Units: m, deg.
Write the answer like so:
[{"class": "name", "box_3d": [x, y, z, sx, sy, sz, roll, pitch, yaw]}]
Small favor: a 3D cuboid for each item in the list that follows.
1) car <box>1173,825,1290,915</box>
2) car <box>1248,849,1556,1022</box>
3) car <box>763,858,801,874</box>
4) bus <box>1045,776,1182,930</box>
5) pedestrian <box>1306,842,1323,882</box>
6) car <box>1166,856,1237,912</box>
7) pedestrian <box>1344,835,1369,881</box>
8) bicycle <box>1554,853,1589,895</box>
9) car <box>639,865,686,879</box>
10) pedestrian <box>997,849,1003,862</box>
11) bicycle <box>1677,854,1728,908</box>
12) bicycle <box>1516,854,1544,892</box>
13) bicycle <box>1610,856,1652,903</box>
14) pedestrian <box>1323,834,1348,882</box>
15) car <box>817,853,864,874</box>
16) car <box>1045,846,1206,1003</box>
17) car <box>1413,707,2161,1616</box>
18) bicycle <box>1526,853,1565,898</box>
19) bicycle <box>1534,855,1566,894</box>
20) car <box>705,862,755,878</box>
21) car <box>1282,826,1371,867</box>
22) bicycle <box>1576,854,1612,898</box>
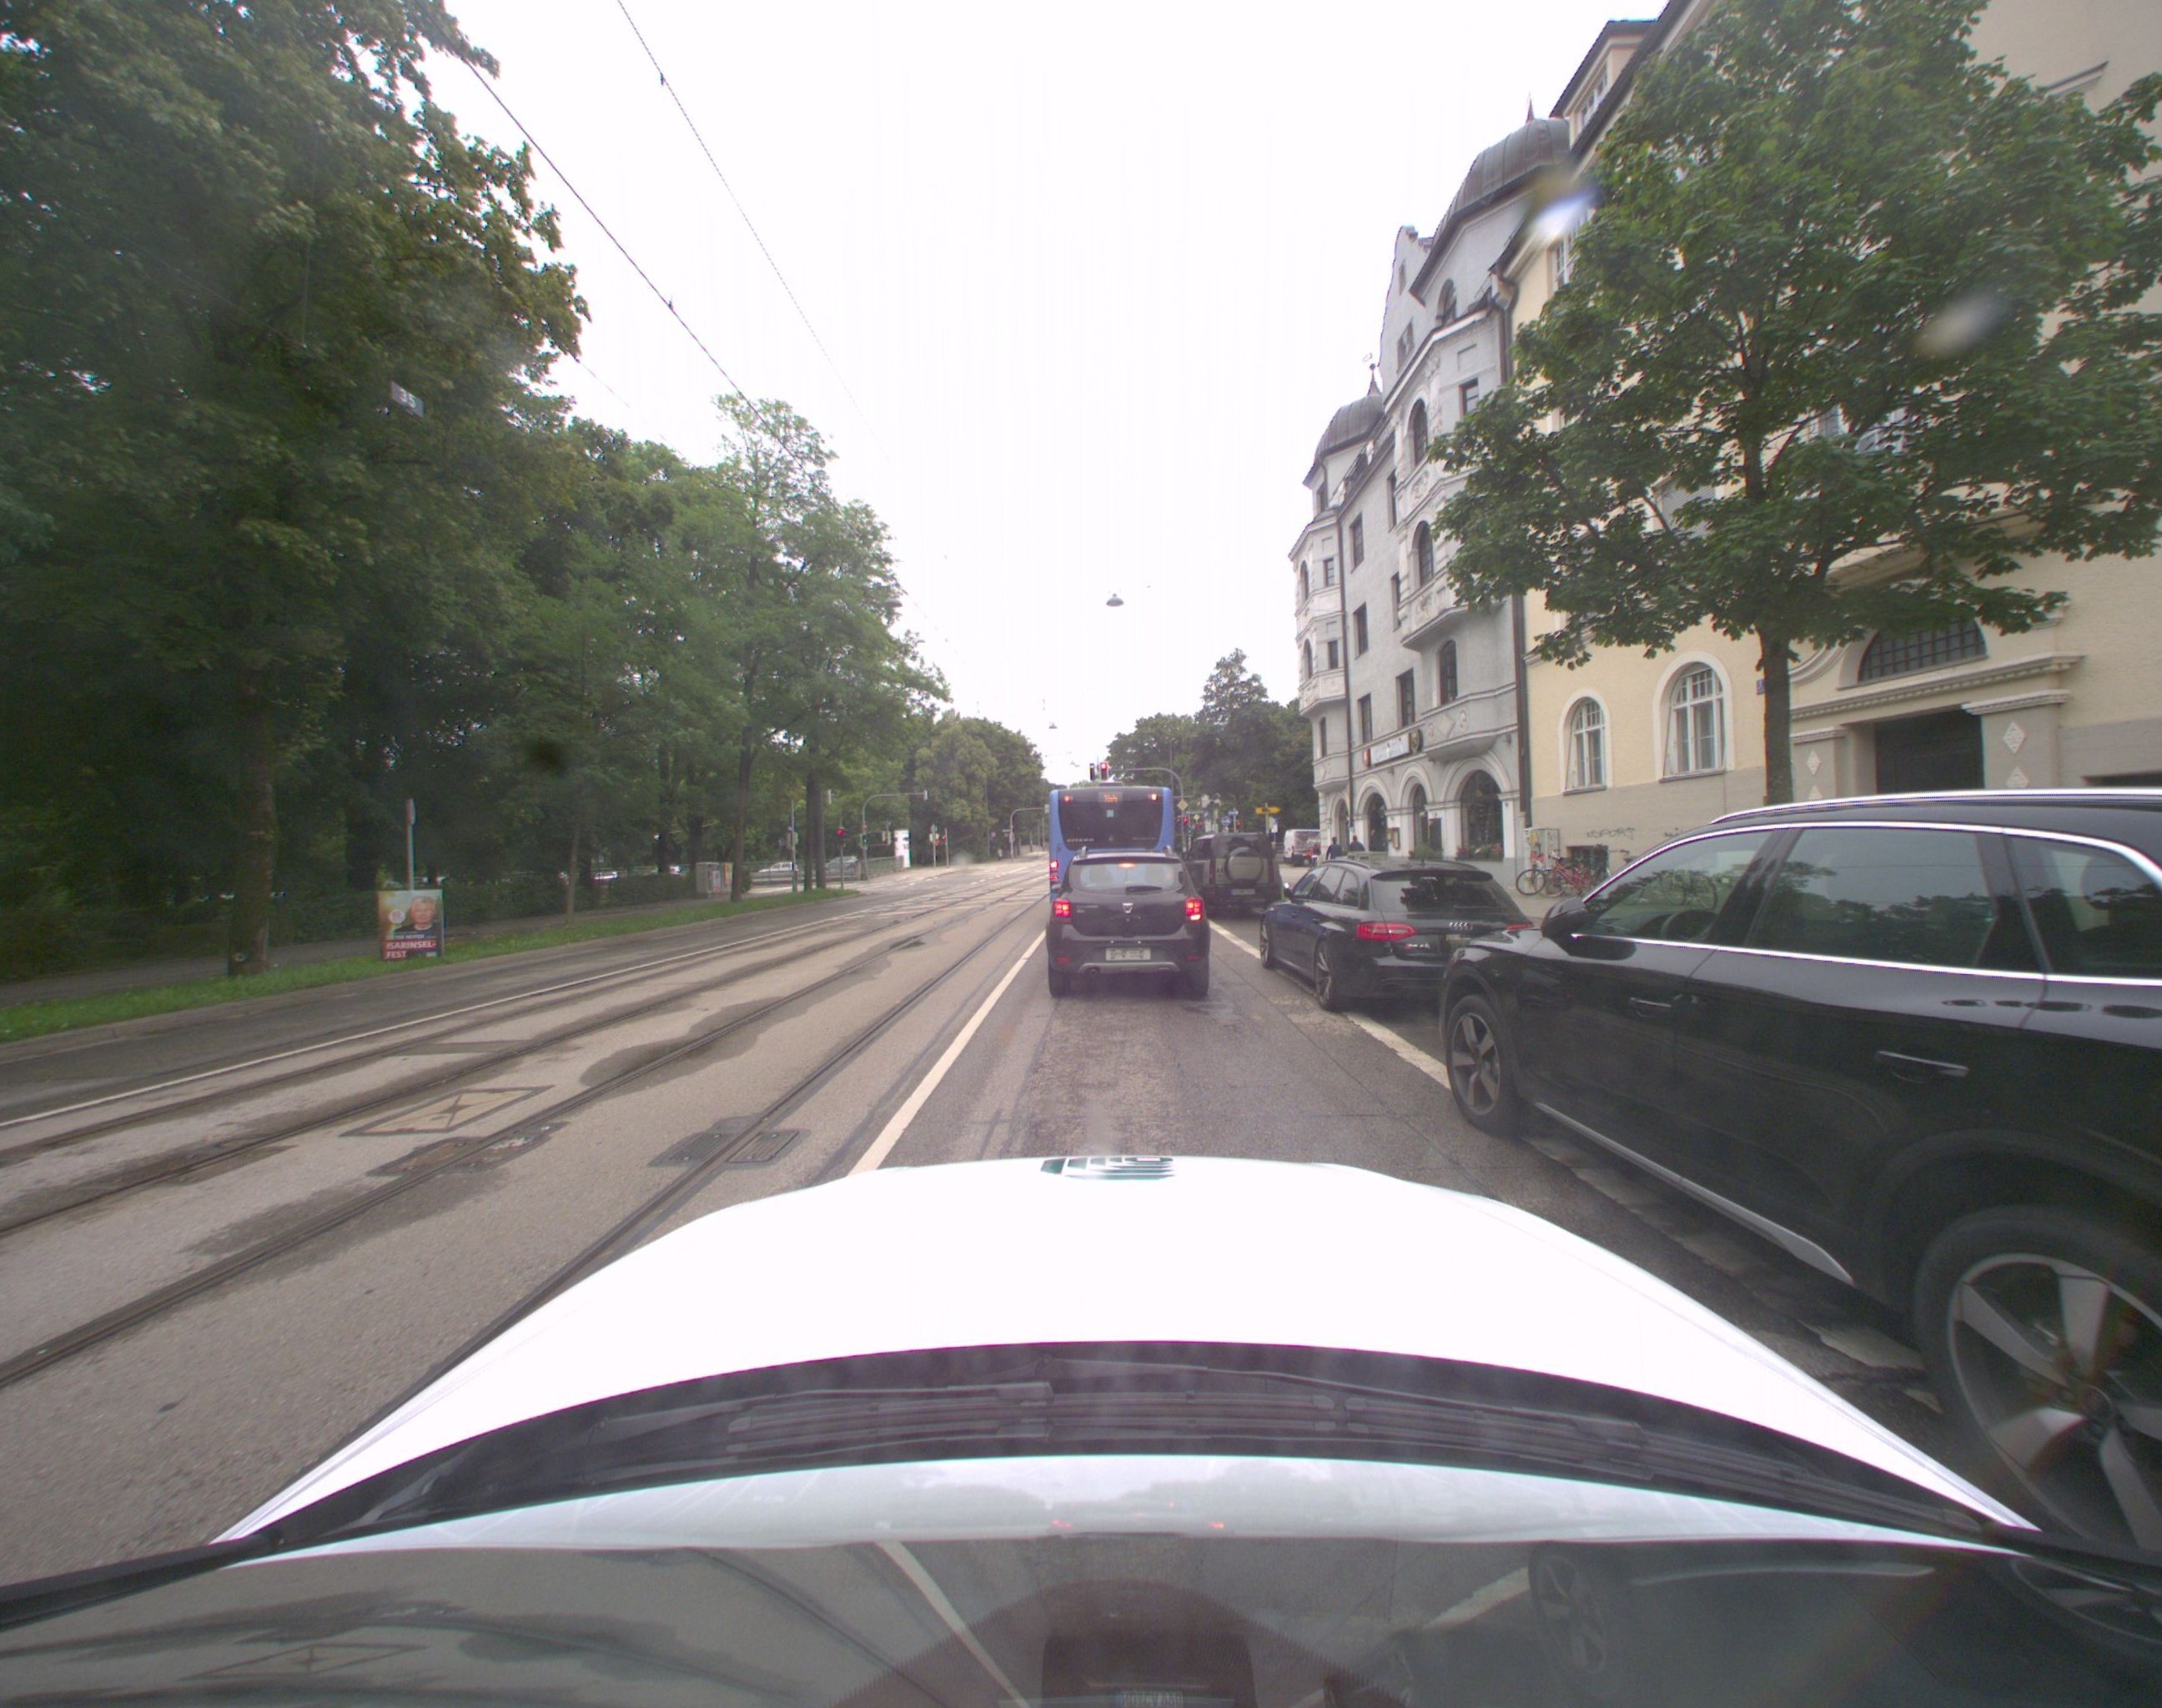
[{"class": "car", "box_3d": [3.469, 0.348, 19.687, 1.908, 1.906, 4.806, 0, 0, 0]}, {"class": "car", "box_3d": [3.140, 0.683, 9.073, 1.710, 1.426, 4.603, 0, 0, 1]}, {"class": "car", "box_3d": [-28.114, 1.158, 76.597, 3.103, 1.452, 1.249, 0, 0, -4]}, {"class": "bus", "box_3d": [0.652, -0.017, 19.459, 2.670, 2.997, 6.959, 0, 0, 0]}, {"class": "pedestrian", "box_3d": [12.135, 0.407, 42.233, 0.666, 2.014, 0.720, -1, -1, 31]}, {"class": "car", "box_3d": [3.664, 0.862, 25.456, 1.708, 1.591, 4.329, 0, 0, 2]}, {"class": "pedestrian", "box_3d": [10.625, 0.159, 31.404, 0.702, 1.732, 0.843, 0, 0, 1]}, {"class": "bicycle", "box_3d": [11.278, 0.456, 18.739, 0.304, 0.930, 0.886, 0, 0, 3]}, {"class": "car", "box_3d": [-39.146, 1.685, 76.258, 3.720, 1.185, 1.249, 0, 0, -4]}, {"class": "pedestrian", "box_3d": [-9.175, 0.139, 92.481, 0.529, 1.501, 0.589, 0, 0, 6]}, {"class": "bicycle", "box_3d": [11.059, 0.463, 14.506, 0.220, 0.930, 0.886, 0, 0, 1]}, {"class": "bicycle", "box_3d": [11.369, 0.478, 20.636, 0.258, 0.930, 0.886, 0, 0, 3]}, {"class": "bicycle", "box_3d": [11.088, 0.498, 16.435, 0.284, 0.930, 0.886, 0, 0, 3]}, {"class": "pedestrian", "box_3d": [9.848, 0.157, 31.582, 0.702, 1.816, 0.870, 0, 0, 2]}, {"class": "car", "box_3d": [-22.756, 0.871, 77.029, 4.016, 1.887, 1.488, 0, 0, -5]}, {"class": "car", "box_3d": [0.483, 0.708, 9.873, 1.595, 1.556, 3.526, 0, 0, 1]}, {"class": "car", "box_3d": [2.907, 0.555, 2.891, 1.767, 1.658, 4.490, -1, 0, 2]}, {"class": "bicycle", "box_3d": [10.899, 0.489, 19.119, 0.241, 1.039, 1.224, 0, 0, 2]}, {"class": "bicycle", "box_3d": [11.341, 0.489, 19.699, 0.289, 0.930, 0.886, 0, 0, 3]}, {"class": "car", "box_3d": [-32.927, 1.505, 76.505, 3.915, 1.404, 1.719, 0, 0, -3]}, {"class": "car", "box_3d": [16.288, -0.492, 54.281, 5.281, 2.612, 2.229, 0, 0, -2]}, {"class": "bicycle", "box_3d": [11.187, 0.477, 17.771, 0.271, 0.930, 0.886, 0, 0, 3]}]
